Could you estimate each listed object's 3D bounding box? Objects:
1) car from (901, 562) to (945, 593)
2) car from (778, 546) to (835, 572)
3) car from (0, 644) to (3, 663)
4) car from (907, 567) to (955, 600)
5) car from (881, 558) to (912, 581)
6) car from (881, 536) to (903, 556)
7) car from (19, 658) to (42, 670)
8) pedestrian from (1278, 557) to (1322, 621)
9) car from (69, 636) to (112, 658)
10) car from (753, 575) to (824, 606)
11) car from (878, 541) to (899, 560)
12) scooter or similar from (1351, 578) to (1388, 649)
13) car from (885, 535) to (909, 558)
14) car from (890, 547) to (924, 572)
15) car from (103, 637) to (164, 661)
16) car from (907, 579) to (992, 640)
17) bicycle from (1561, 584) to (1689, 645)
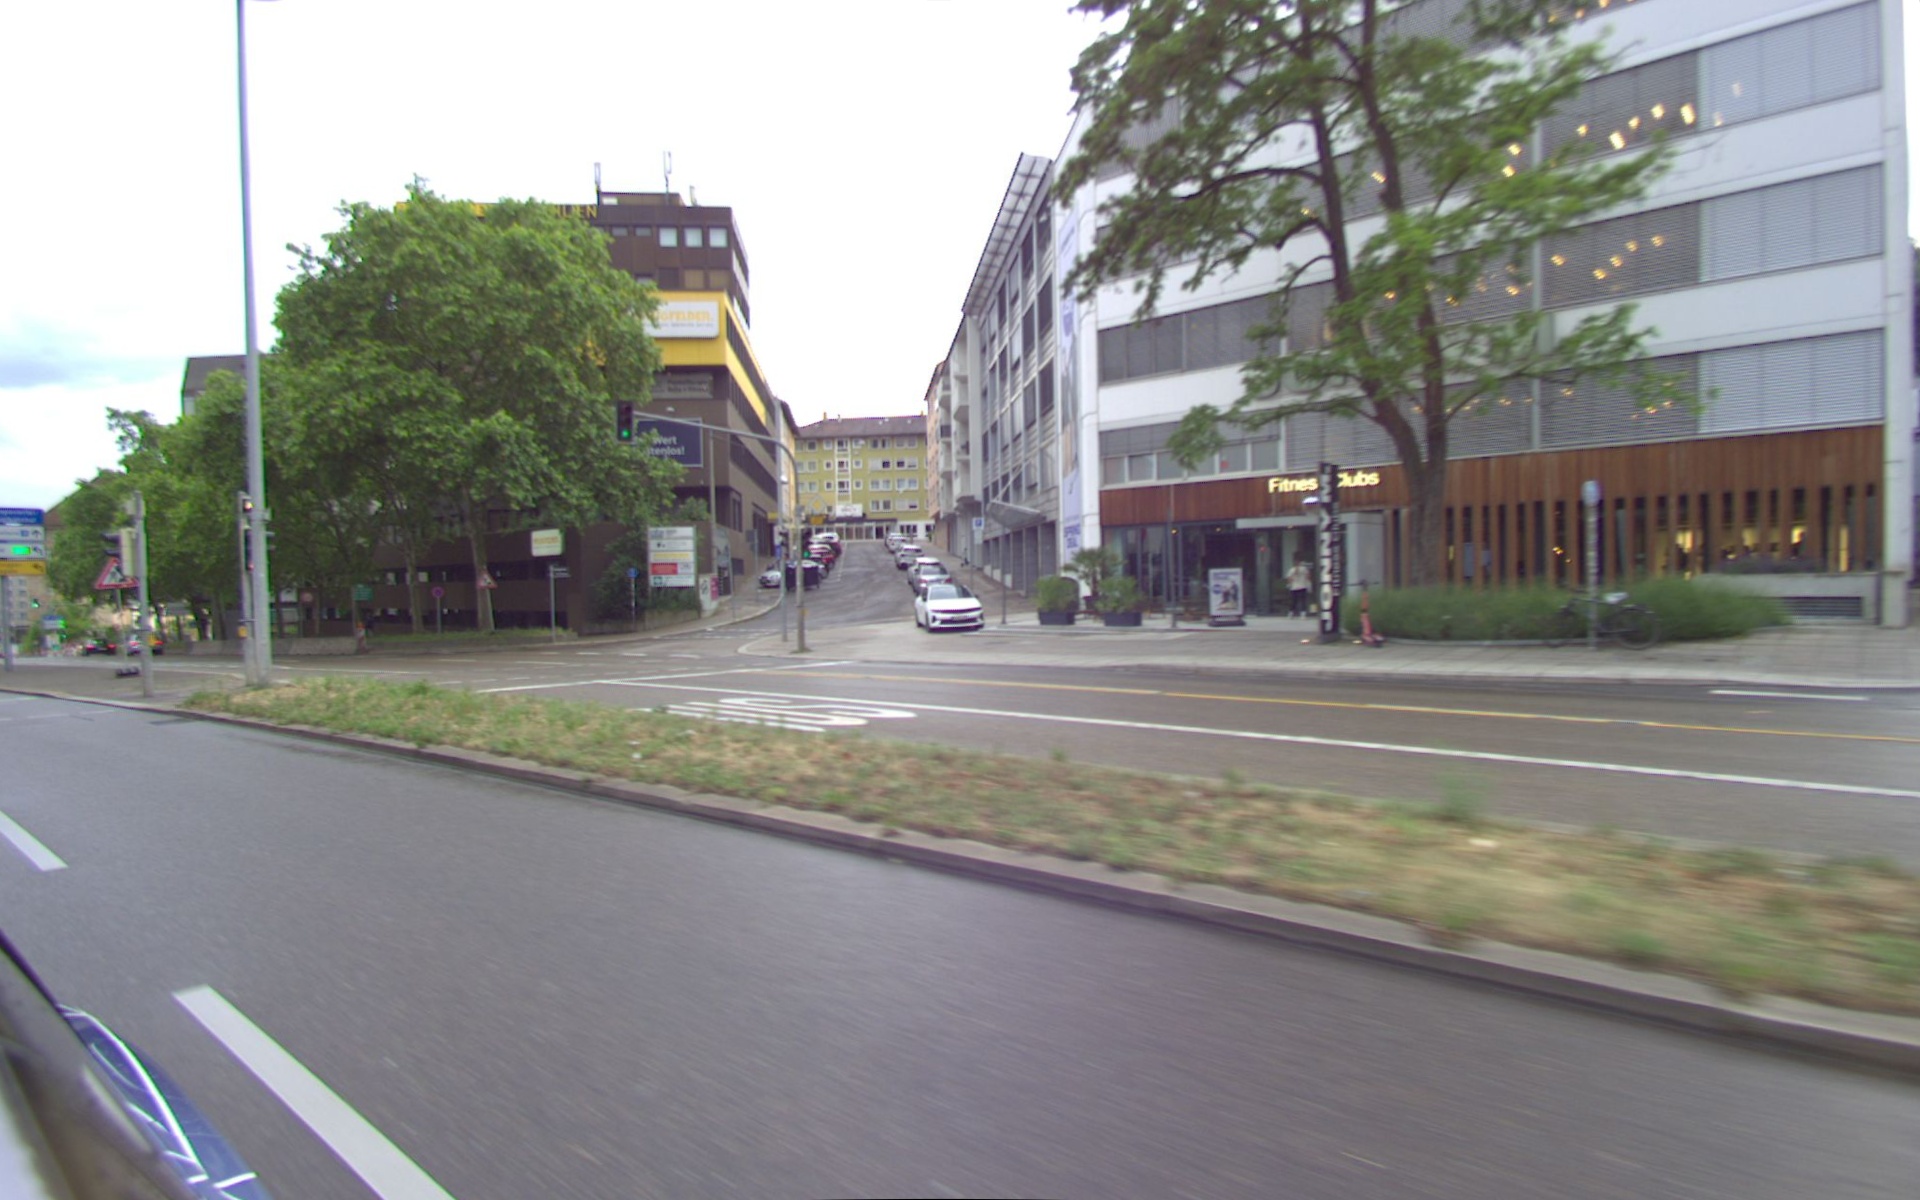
[{"bbox_3d":[-2.130,-1.293,56.811,1.969,1.586,4.495,-3,2,-7],"label":"car"},{"bbox_3d":[-11.075,-2.968,73.171,3.939,1.696,1.823,-2,4,-5],"label":"car"},{"bbox_3d":[-78.064,4.315,80.806,3.732,1.530,1.738,-3,-2,35],"label":"car"},{"bbox_3d":[-1.521,-0.857,51.145,1.969,1.476,4.495,-3,2,-7],"label":"car"},{"bbox_3d":[-4.935,-2.380,78.120,1.969,1.586,4.495,-3,2,-7],"label":"car"},{"bbox_3d":[-6.548,-5.176,96.755,1.969,1.829,4.006,-2,4,-5],"label":"car"},{"bbox_3d":[-126.000,8.695,137.113,4.505,1.447,1.913,-3,-2,42],"label":"car"},{"bbox_3d":[9.014,-0.275,26.844,0.841,1.653,0.760,-3,-2,42],"label":"pedestrian"},{"bbox_3d":[-65.361,3.547,76.052,4.166,1.530,1.736,-3,-1,39],"label":"car"},{"bbox_3d":[-10.074,-0.559,59.509,3.939,1.696,1.822,-2,0,-5],"label":"car"},{"bbox_3d":[-7.425,-5.108,104.904,1.969,1.829,4.006,-2,4,-5],"label":"car"},{"bbox_3d":[8.008,0.235,19.825,0.366,1.256,1.749,-2,3,13],"label":"scooter or similar"},{"bbox_3d":[-5.707,-4.824,90.804,1.969,2.028,4.006,-2,4,-5],"label":"car"},{"bbox_3d":[-3.757,-2.833,70.709,1.969,1.586,4.495,-3,2,-7],"label":"car"},{"bbox_3d":[-54.075,3.234,66.181,4.873,1.458,1.975,-2,-1,37],"label":"car"},{"bbox_3d":[-0.448,0.225,33.012,1.968,1.666,4.854,-3,2,-9],"label":"car"},{"bbox_3d":[11.327,0.252,17.286,1.758,0.999,0.451,-1,1,43],"label":"bicycle"}]
